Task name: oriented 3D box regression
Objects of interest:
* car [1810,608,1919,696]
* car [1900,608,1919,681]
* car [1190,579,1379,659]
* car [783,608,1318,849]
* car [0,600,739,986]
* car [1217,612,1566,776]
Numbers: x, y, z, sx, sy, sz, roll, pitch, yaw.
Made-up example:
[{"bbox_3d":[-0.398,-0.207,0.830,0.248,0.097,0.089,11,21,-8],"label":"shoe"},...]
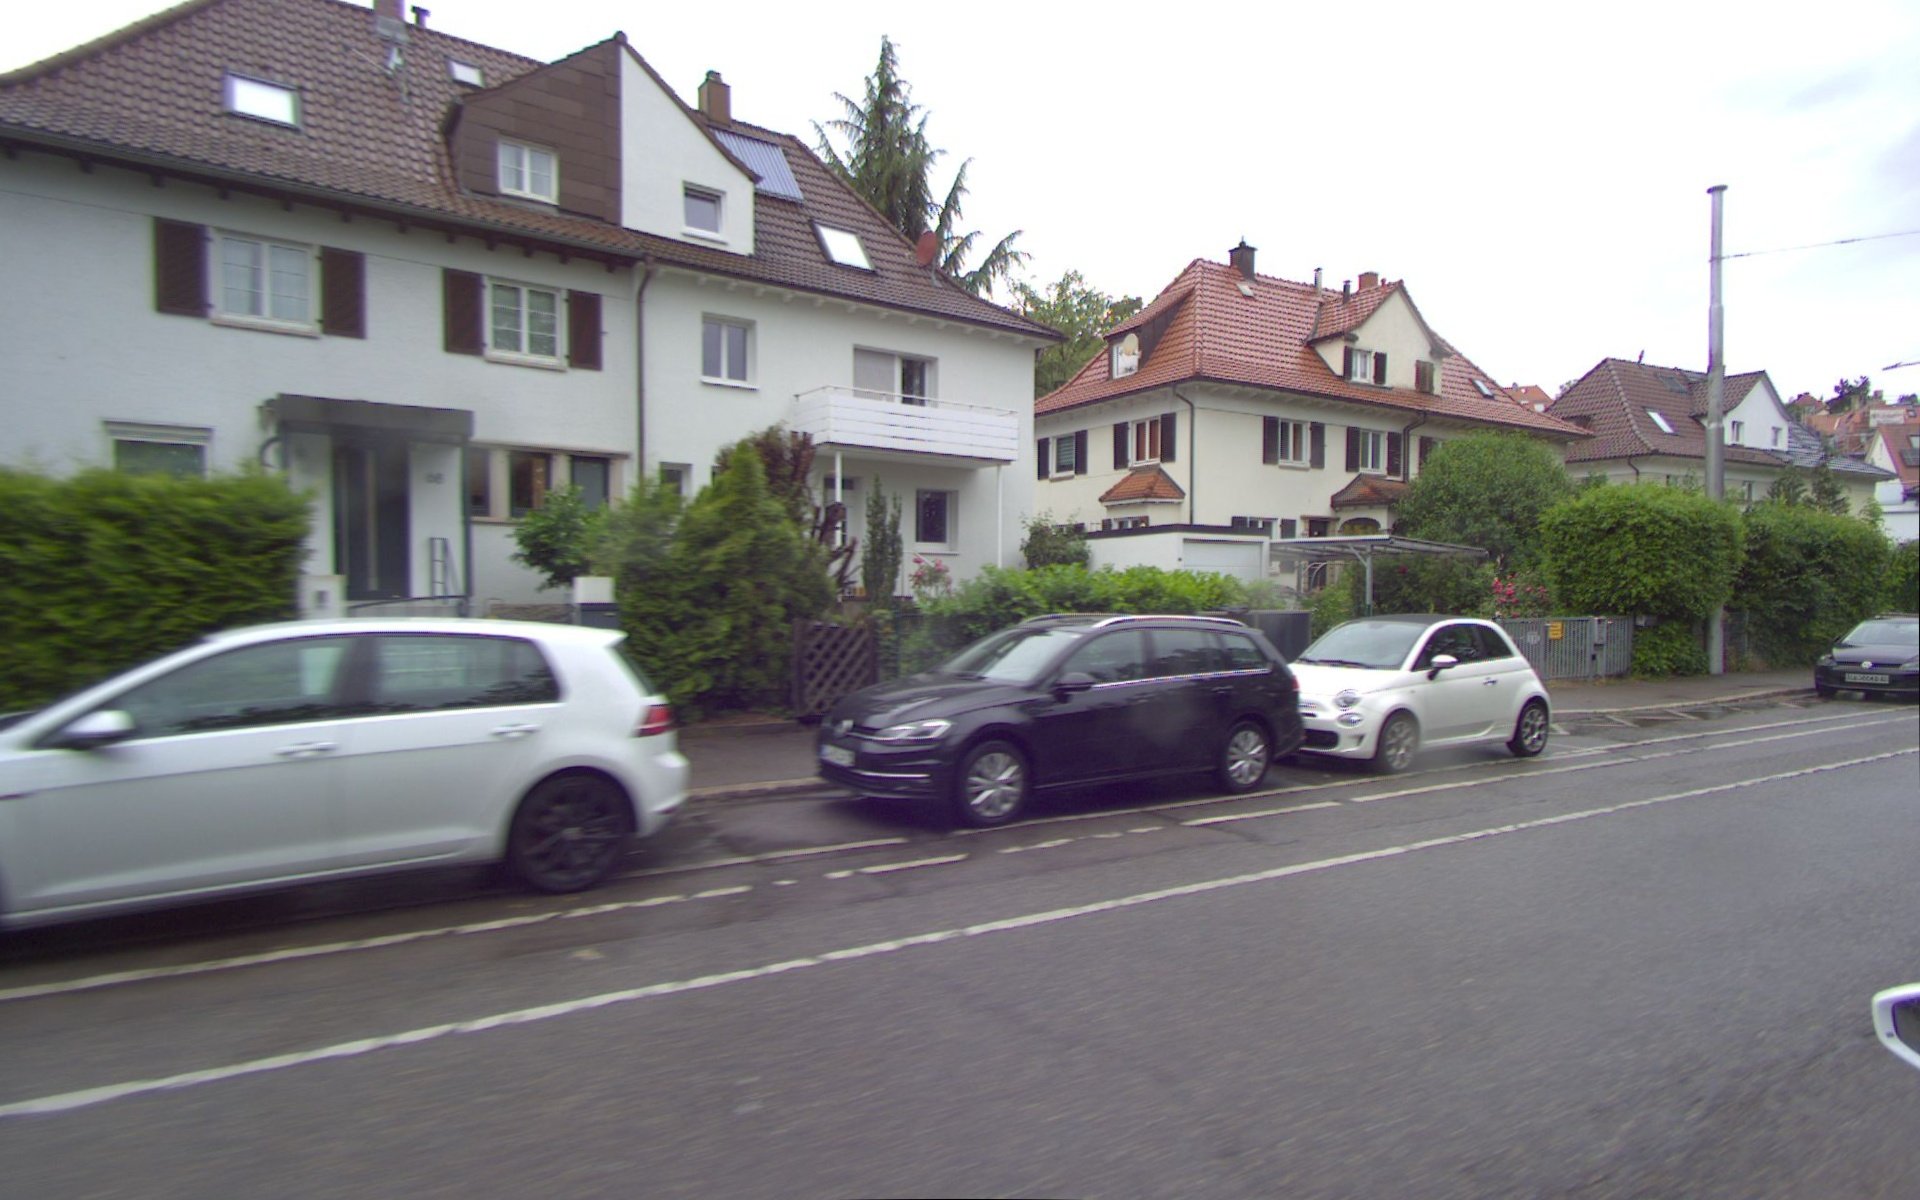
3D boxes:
[{"bbox_3d":[17.513,0.884,18.601,4.171,1.437,1.677,0,0,-34],"label":"car"},{"bbox_3d":[21.013,0.901,20.806,2.995,1.473,1.511,0,0,-31],"label":"car"},{"bbox_3d":[7.386,0.376,23.208,1.643,1.467,3.964,1,3,-32],"label":"car"},{"bbox_3d":[0.884,0.850,8.376,4.375,1.545,1.688,0,-1,-33],"label":"car"},{"bbox_3d":[-3.500,0.791,5.296,4.237,1.441,1.722,-1,2,-33],"label":"car"},{"bbox_3d":[4.695,0.901,10.816,3.671,1.487,1.689,0,-3,-33],"label":"car"}]
